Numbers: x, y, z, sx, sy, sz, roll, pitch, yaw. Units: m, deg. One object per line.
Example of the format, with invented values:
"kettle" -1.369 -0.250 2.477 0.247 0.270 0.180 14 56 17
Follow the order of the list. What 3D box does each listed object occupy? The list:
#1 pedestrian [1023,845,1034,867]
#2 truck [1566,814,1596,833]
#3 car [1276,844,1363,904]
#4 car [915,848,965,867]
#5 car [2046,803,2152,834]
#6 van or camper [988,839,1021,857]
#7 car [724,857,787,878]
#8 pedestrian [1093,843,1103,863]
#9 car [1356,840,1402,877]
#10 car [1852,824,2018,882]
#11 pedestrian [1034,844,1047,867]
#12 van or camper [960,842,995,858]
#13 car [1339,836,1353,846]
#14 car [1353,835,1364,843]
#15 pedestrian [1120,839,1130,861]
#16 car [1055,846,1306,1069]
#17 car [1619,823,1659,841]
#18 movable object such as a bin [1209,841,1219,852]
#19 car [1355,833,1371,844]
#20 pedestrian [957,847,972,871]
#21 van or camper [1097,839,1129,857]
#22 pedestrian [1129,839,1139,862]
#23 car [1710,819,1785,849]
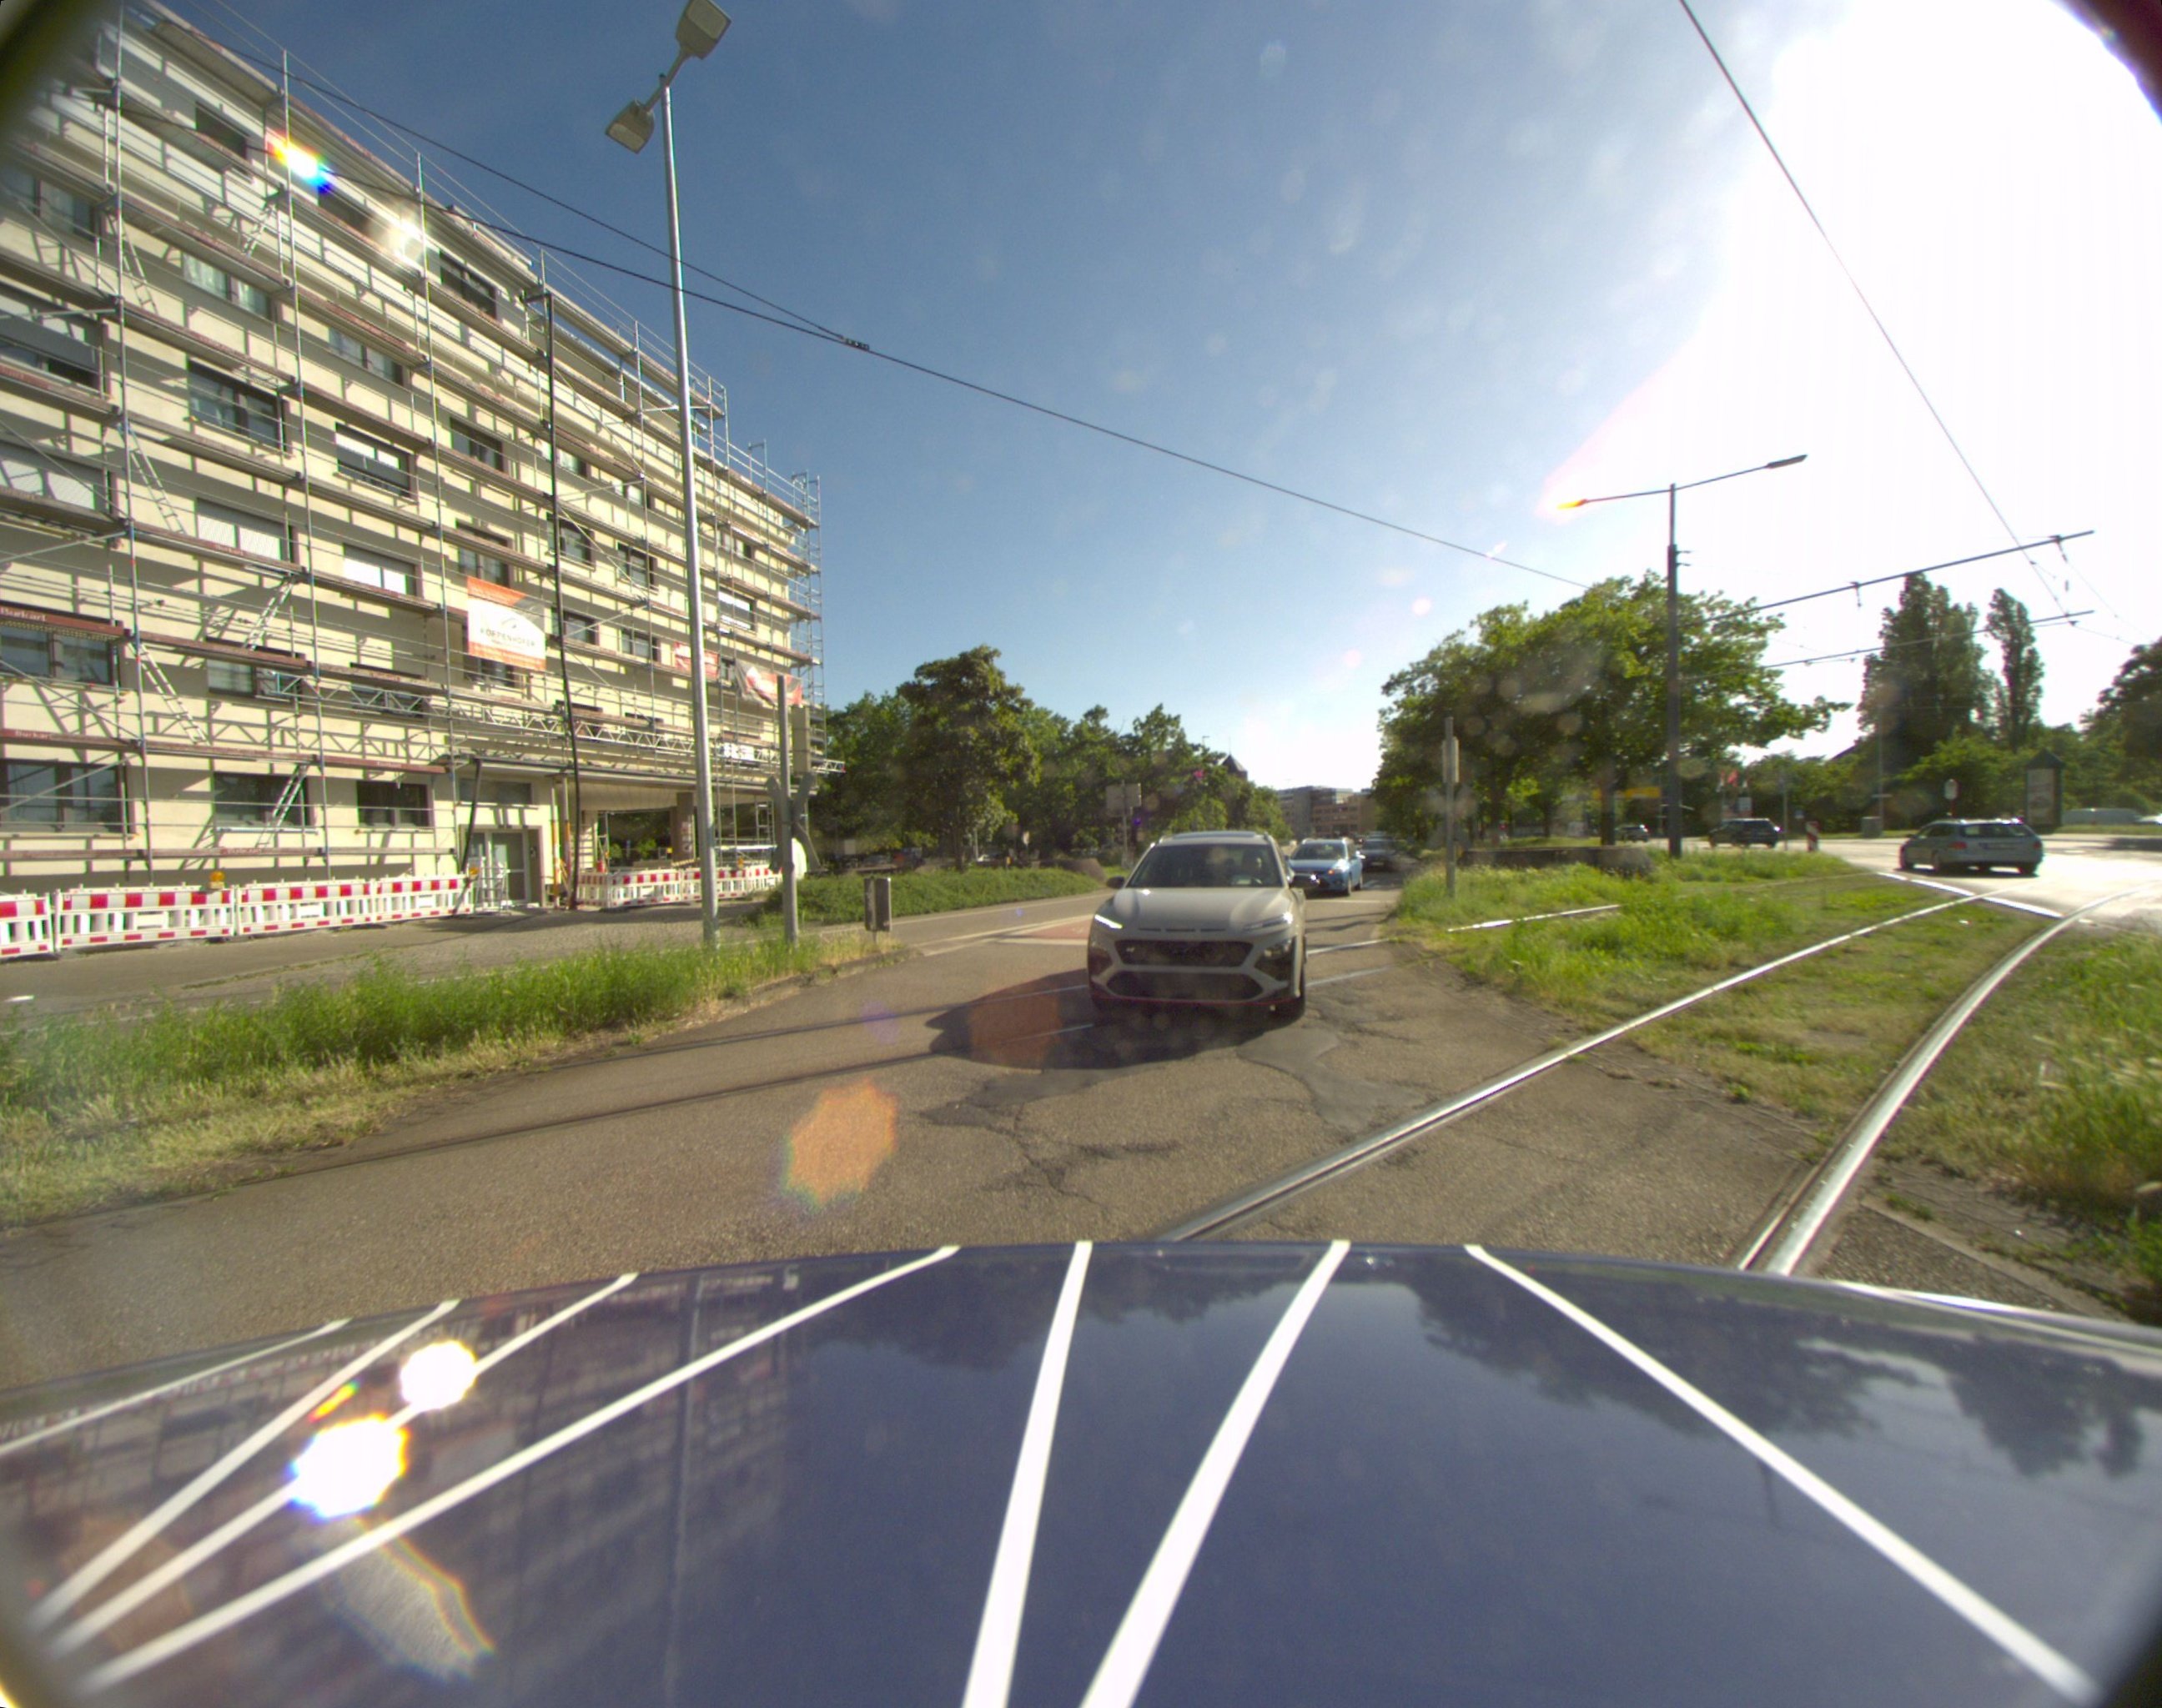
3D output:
"pedestrian" -3.867 0.153 55.941 0.598 1.610 0.567 -3 2 15
"truck" 65.145 -3.943 99.120 1.791 2.413 4.112 -2 1 10
"car" 6.702 0.485 21.064 1.708 1.456 4.006 -1 1 26
"car" -11.435 0.264 61.850 3.581 1.307 1.624 -2 3 14
"car" 72.085 -2.503 53.829 4.998 2.002 2.238 -2 1 -5
"van or camper" -9.780 -0.855 97.536 2.454 2.146 5.332 -2 1 14
"car" -24.969 1.025 58.395 1.995 1.291 4.006 -3 2 28
"pedestrian" 1.270 -0.076 56.176 0.528 1.510 0.614 -2 2 23
"car" 13.538 0.161 34.428 1.675 1.499 3.954 -1 1 25
"car" 24.532 -0.074 22.074 1.730 1.434 4.891 -3 0 30
"pedestrian" -3.002 0.101 55.714 0.704 1.610 0.567 -3 2 15
"van or camper" -13.407 -0.530 98.493 2.454 1.902 5.333 -2 1 16
"car" 41.657 -2.018 119.391 1.996 1.524 4.005 -1 1 20
"car" 52.648 -2.846 144.262 1.996 1.524 4.005 -1 1 20
"pedestrian" 3.300 -0.288 56.984 0.622 1.625 0.552 -2 2 21
"car" 1.274 0.752 7.626 1.778 1.543 3.984 -2 1 17
"car" 49.657 -1.968 67.745 1.995 1.553 4.393 -2 1 24
"movable object such as a bin" 11.868 -0.670 67.660 0.727 1.024 0.579 -2 1 20
"car" 39.467 -2.221 106.311 1.826 1.465 4.005 -2 1 23
"pedestrian" -7.432 0.318 48.489 0.650 1.489 0.910 -2 1 12
"van or camper" 3.809 -0.760 89.771 2.454 1.902 5.333 -2 1 16
"pedestrian" 4.004 -0.276 57.215 0.603 1.690 0.410 -2 2 20
"car" 38.227 -1.147 43.713 1.755 1.604 4.729 -2 1 22
